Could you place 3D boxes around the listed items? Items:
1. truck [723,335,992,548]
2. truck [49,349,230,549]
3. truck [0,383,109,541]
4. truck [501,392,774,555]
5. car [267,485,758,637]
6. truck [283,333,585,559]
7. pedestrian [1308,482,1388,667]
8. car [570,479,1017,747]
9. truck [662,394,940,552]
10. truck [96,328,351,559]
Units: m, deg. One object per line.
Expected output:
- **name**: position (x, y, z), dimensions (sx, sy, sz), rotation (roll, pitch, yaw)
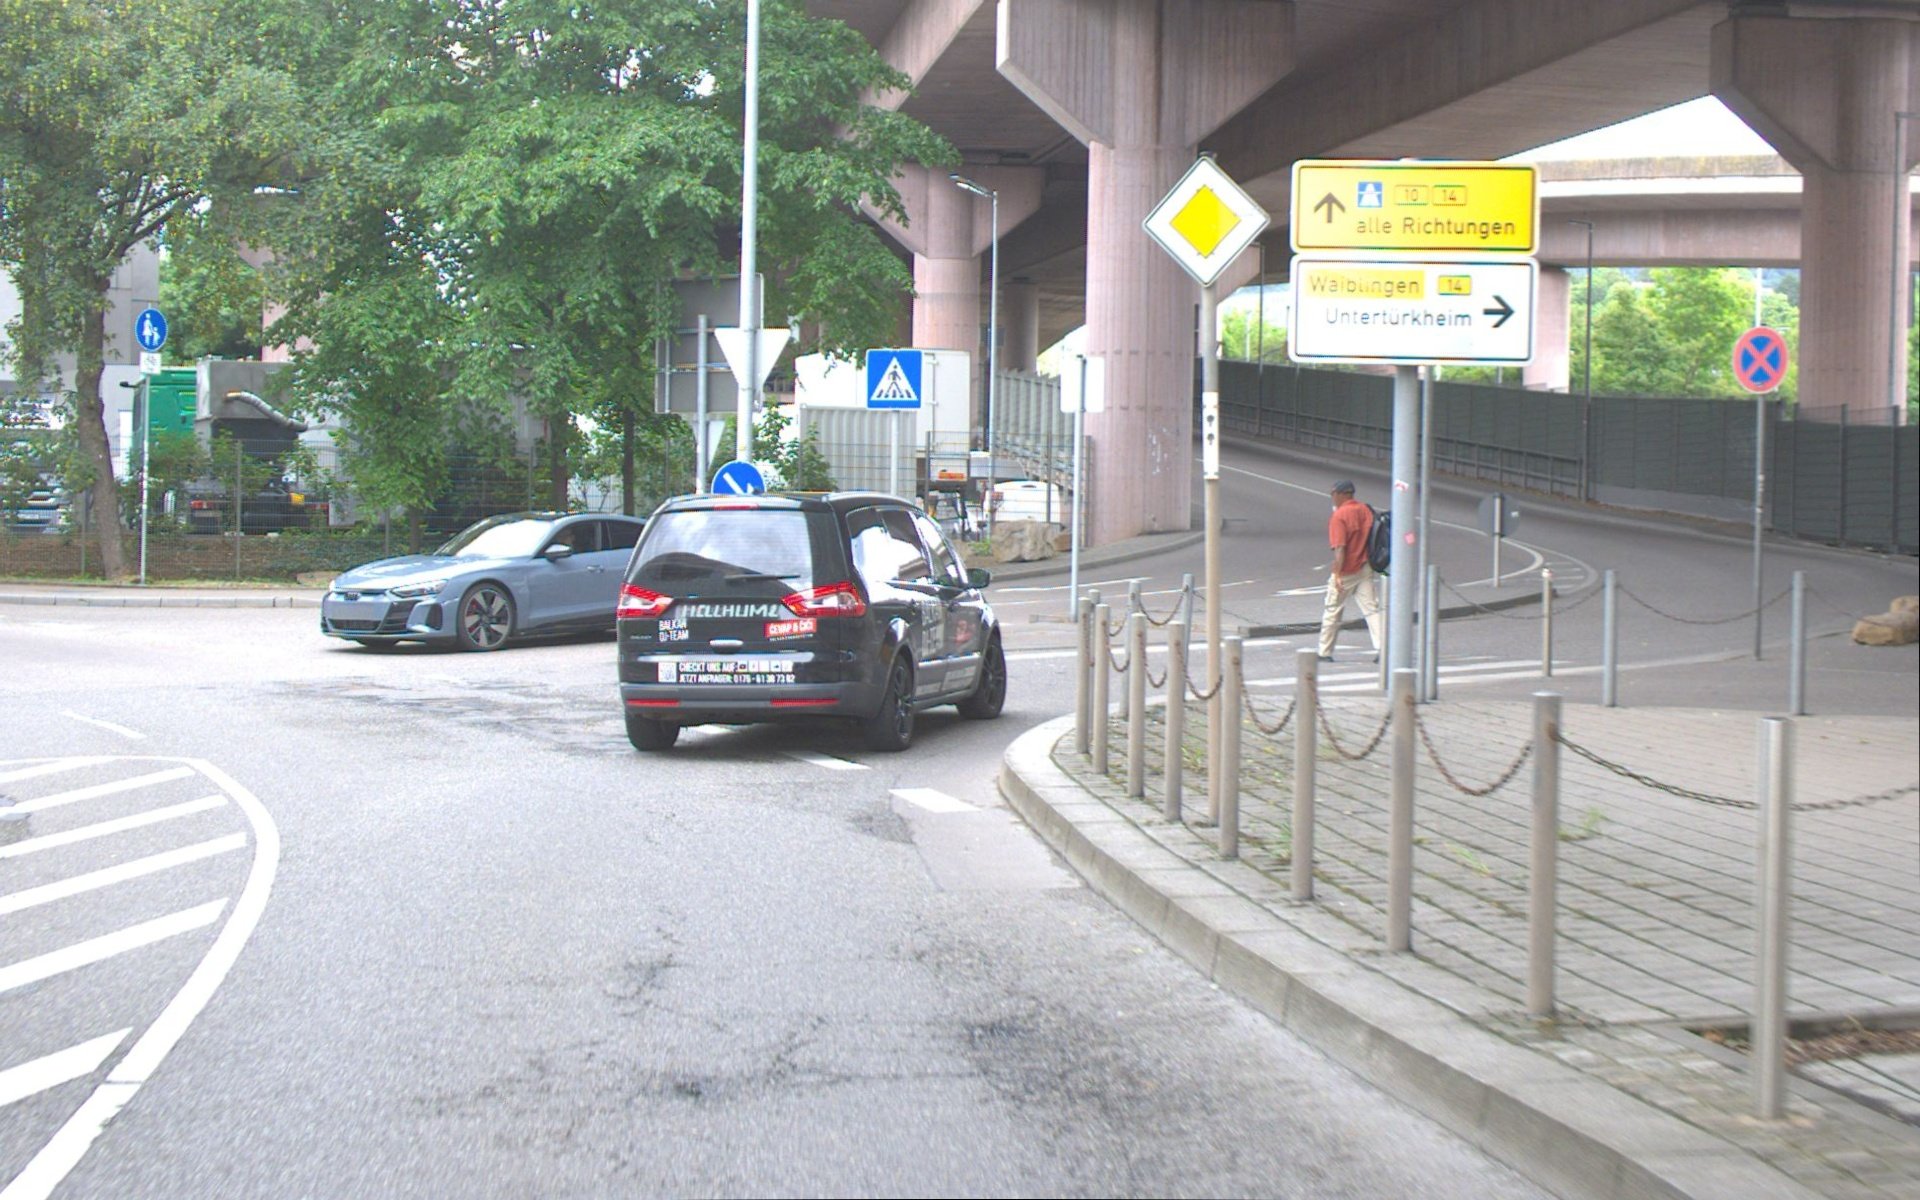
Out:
- **truck**: position (-2.324, -3.454, 73.722), dimensions (3.065, 4.284, 8.051), rotation (-1, 4, -23)
- **truck**: position (-20.667, -3.841, 86.294), dimensions (3.202, 4.763, 8.051), rotation (-1, 4, -22)
- **truck**: position (-22.960, -3.402, 82.361), dimensions (3.055, 3.606, 7.917), rotation (-1, 4, -29)
- **truck**: position (-6.169, -2.456, 64.793), dimensions (2.915, 2.888, 6.560), rotation (-1, 4, -27)
- **car**: position (-4.666, -0.464, 36.434), dimensions (2.172, 1.496, 4.920), rotation (1, 2, 42)
- **truck**: position (-9.739, -2.872, 62.861), dimensions (3.065, 3.854, 8.050), rotation (-1, 4, -27)
- **pedestrian**: position (3.558, -0.245, 31.554), dimensions (0.536, 1.670, 0.558), rotation (-1, 3, -18)
- **car**: position (-1.025, 0.021, 23.889), dimensions (1.994, 1.673, 4.558), rotation (0, 2, 12)
- **truck**: position (-3.166, -2.530, 66.475), dimensions (2.915, 2.888, 6.560), rotation (-1, 4, -27)
- **truck**: position (-13.521, -2.843, 62.702), dimensions (3.065, 3.949, 6.925), rotation (-1, 3, -25)
